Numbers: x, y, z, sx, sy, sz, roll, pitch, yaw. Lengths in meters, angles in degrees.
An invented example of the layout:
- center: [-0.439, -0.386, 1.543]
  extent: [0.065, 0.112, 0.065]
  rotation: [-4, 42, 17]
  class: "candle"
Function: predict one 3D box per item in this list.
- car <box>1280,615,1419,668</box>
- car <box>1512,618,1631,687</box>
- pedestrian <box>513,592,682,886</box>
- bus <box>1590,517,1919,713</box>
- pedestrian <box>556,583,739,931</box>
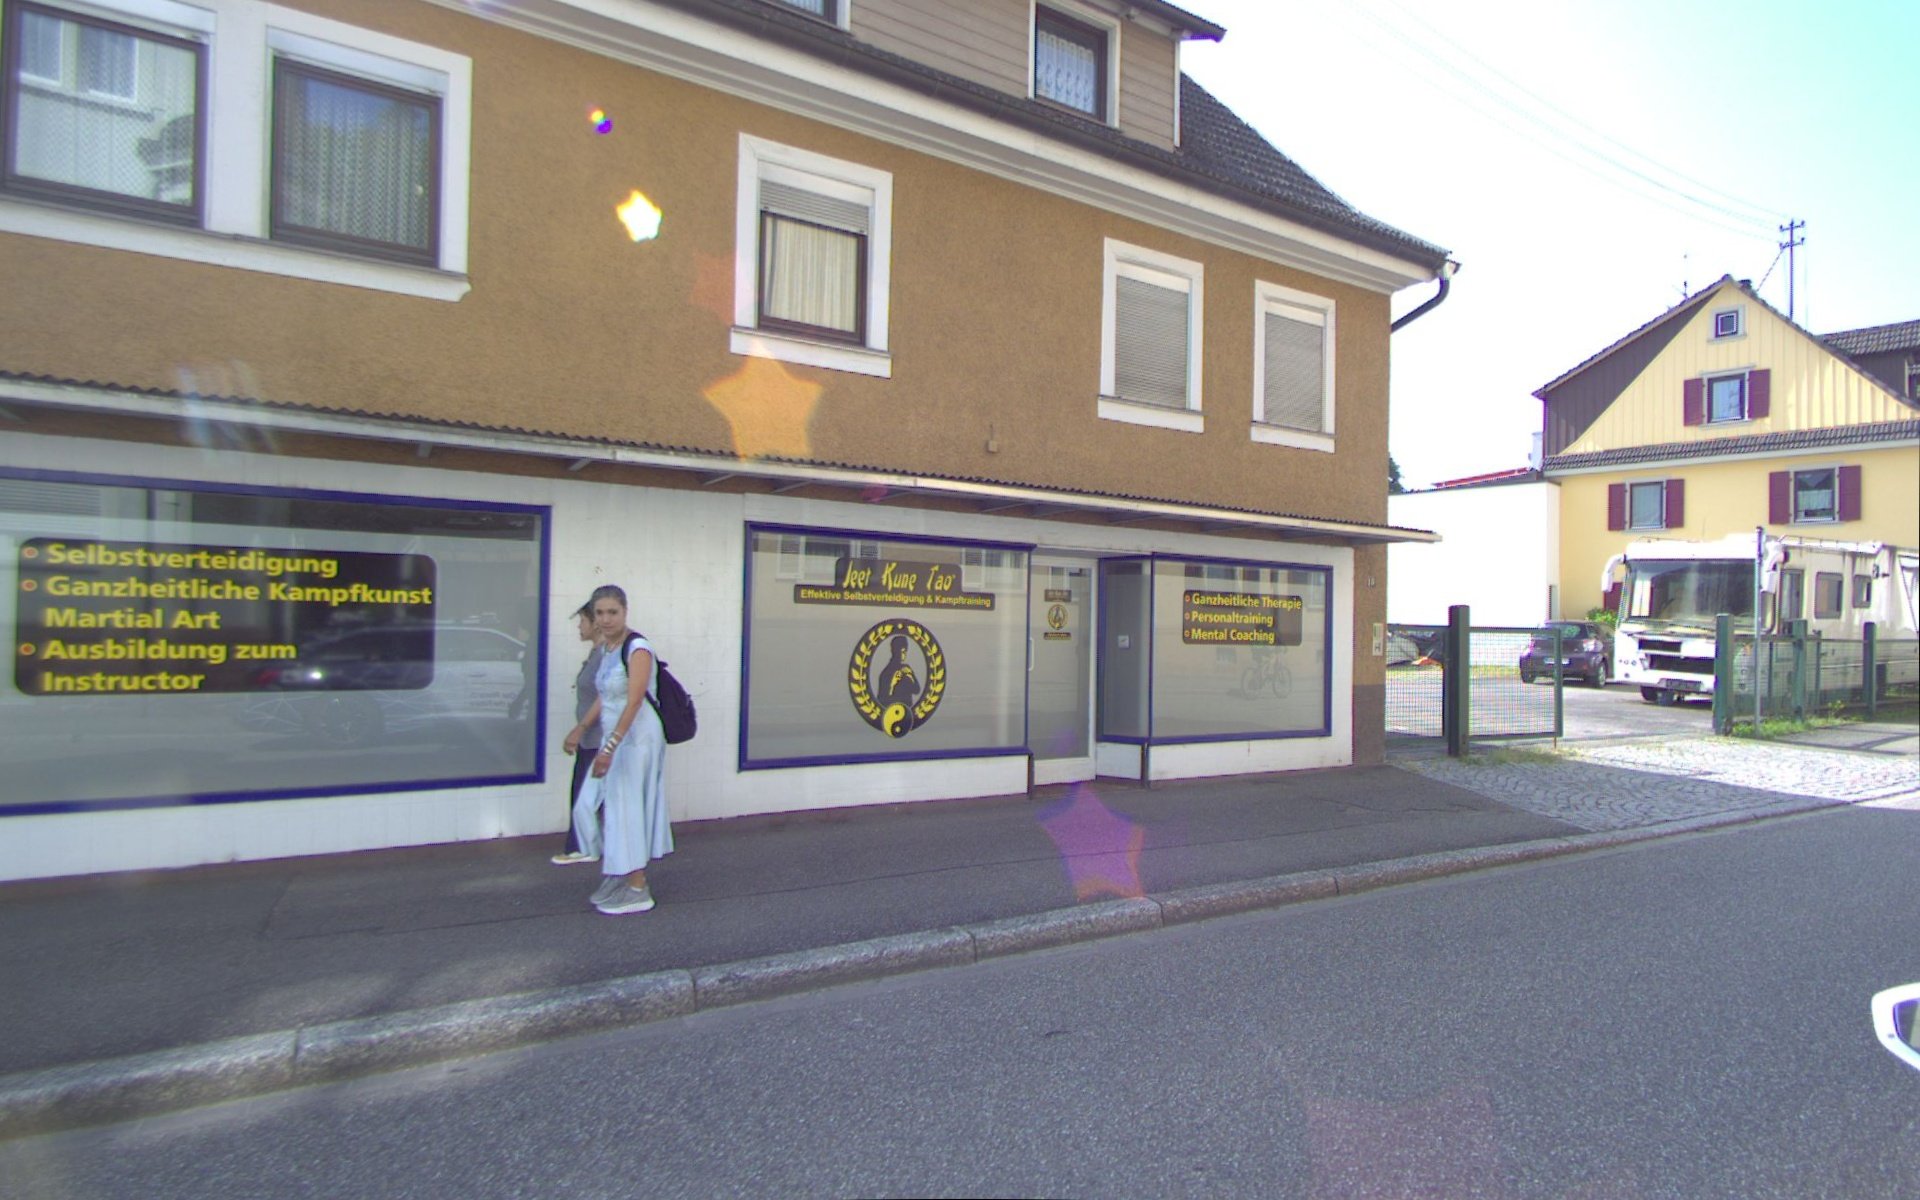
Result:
- center: [10.798, 1.106, 27.781]
  extent: [3.957, 1.286, 1.584]
  rotation: [0, 2, -33]
  class: "car"
- center: [14.619, 1.198, 23.924]
  extent: [1.745, 1.451, 3.979]
  rotation: [2, 0, 41]
  class: "car"
- center: [-2.159, 0.761, 5.957]
  extent: [0.814, 1.585, 0.731]
  rotation: [1, 1, -29]
  class: "pedestrian"
- center: [16.525, 0.337, 20.426]
  extent: [8.939, 3.271, 2.804]
  rotation: [1, 0, -33]
  class: "bus"
- center: [-1.633, 0.750, 5.226]
  extent: [0.768, 1.648, 0.636]
  rotation: [1, -1, -30]
  class: "pedestrian"
